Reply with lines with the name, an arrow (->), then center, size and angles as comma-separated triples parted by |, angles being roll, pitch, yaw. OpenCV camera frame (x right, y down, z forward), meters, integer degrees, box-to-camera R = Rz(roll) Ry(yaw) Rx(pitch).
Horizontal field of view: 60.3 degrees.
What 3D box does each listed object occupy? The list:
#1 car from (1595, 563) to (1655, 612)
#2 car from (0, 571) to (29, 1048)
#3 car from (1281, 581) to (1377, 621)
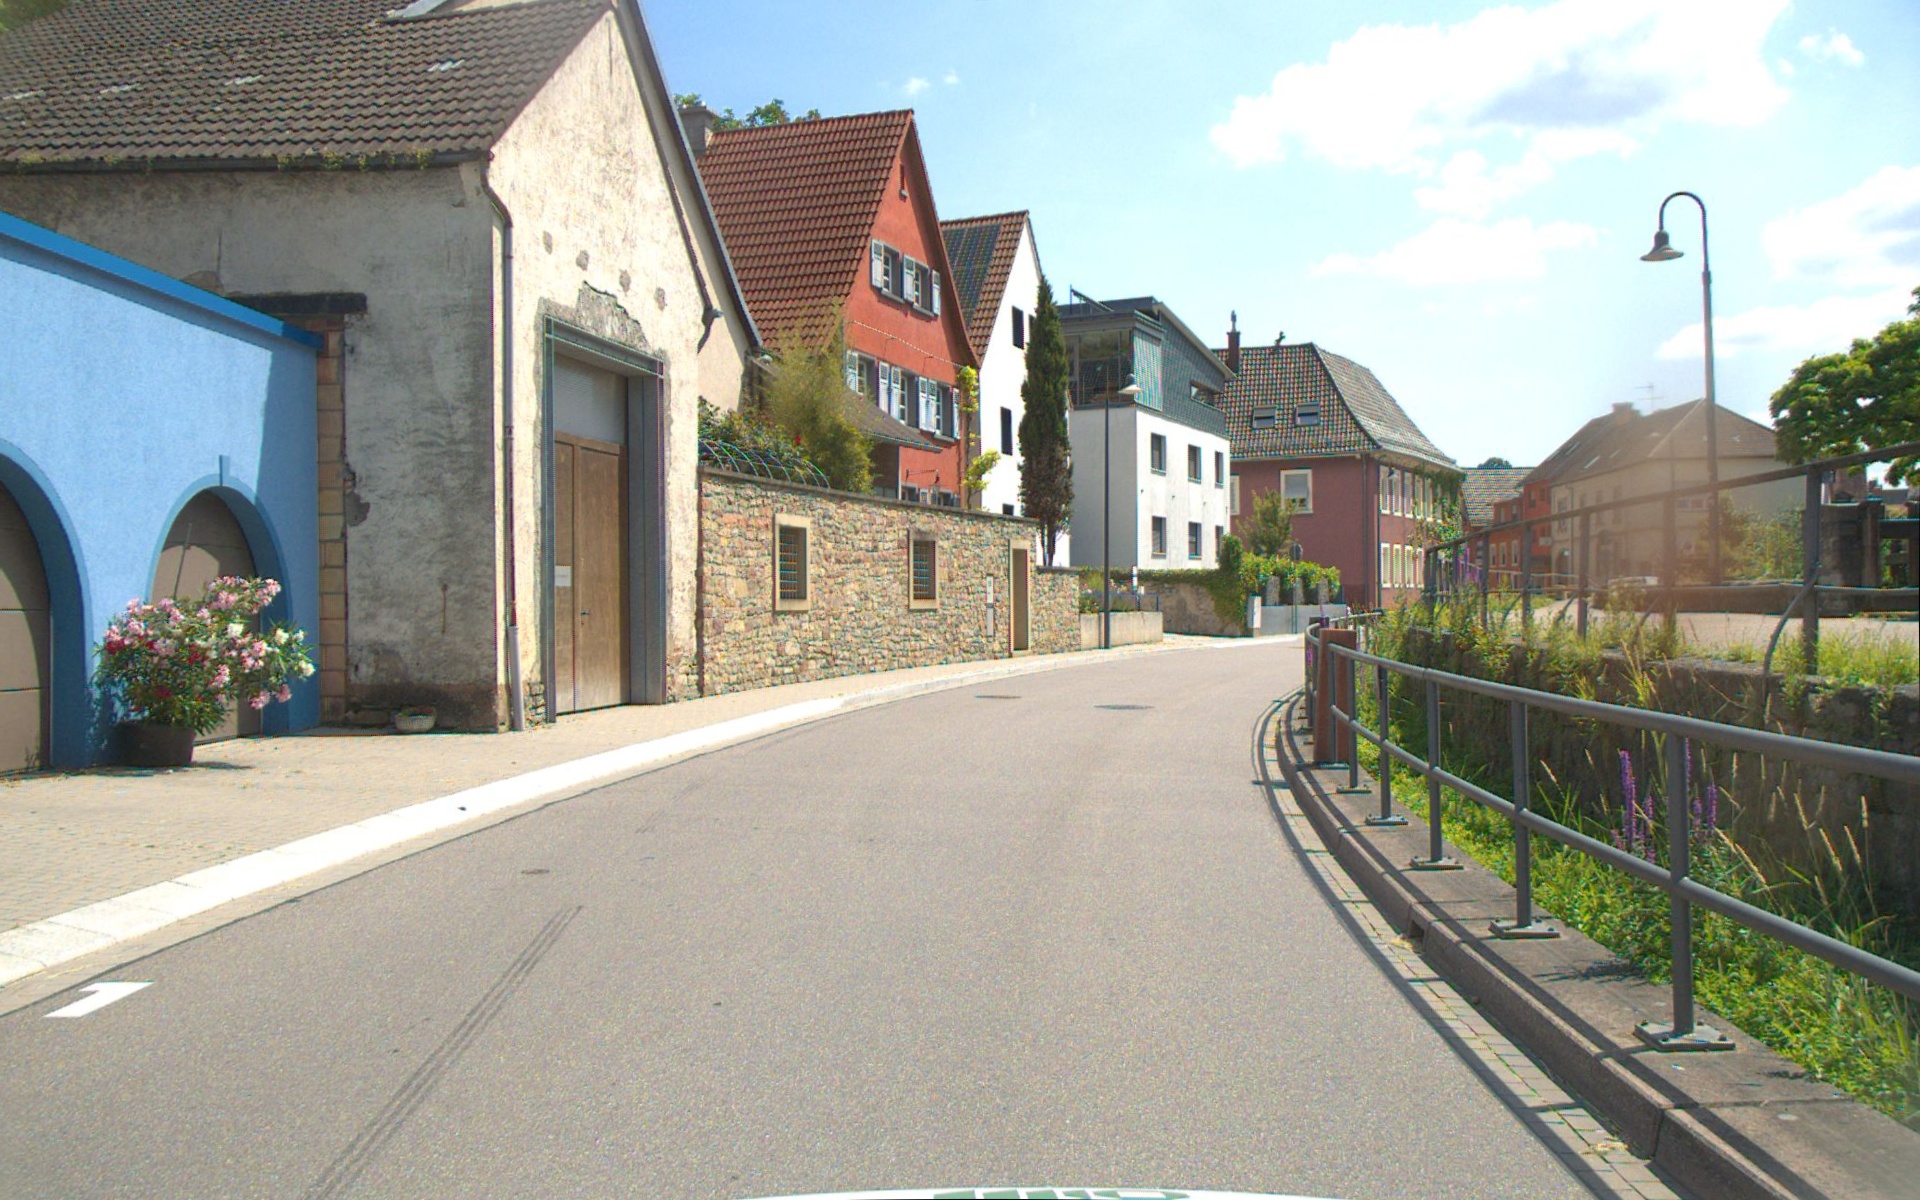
car -> 29.325, -0.552, 72.878 | 1.863, 2.015, 3.106 | -4, -1, 32
car -> -3.941, 0.667, 3.562 | 1.682, 1.557, 3.856 | 1, 0, -1
car -> 15.219, 0.033, 68.289 | 3.499, 1.430, 1.649 | 4, 3, 29
